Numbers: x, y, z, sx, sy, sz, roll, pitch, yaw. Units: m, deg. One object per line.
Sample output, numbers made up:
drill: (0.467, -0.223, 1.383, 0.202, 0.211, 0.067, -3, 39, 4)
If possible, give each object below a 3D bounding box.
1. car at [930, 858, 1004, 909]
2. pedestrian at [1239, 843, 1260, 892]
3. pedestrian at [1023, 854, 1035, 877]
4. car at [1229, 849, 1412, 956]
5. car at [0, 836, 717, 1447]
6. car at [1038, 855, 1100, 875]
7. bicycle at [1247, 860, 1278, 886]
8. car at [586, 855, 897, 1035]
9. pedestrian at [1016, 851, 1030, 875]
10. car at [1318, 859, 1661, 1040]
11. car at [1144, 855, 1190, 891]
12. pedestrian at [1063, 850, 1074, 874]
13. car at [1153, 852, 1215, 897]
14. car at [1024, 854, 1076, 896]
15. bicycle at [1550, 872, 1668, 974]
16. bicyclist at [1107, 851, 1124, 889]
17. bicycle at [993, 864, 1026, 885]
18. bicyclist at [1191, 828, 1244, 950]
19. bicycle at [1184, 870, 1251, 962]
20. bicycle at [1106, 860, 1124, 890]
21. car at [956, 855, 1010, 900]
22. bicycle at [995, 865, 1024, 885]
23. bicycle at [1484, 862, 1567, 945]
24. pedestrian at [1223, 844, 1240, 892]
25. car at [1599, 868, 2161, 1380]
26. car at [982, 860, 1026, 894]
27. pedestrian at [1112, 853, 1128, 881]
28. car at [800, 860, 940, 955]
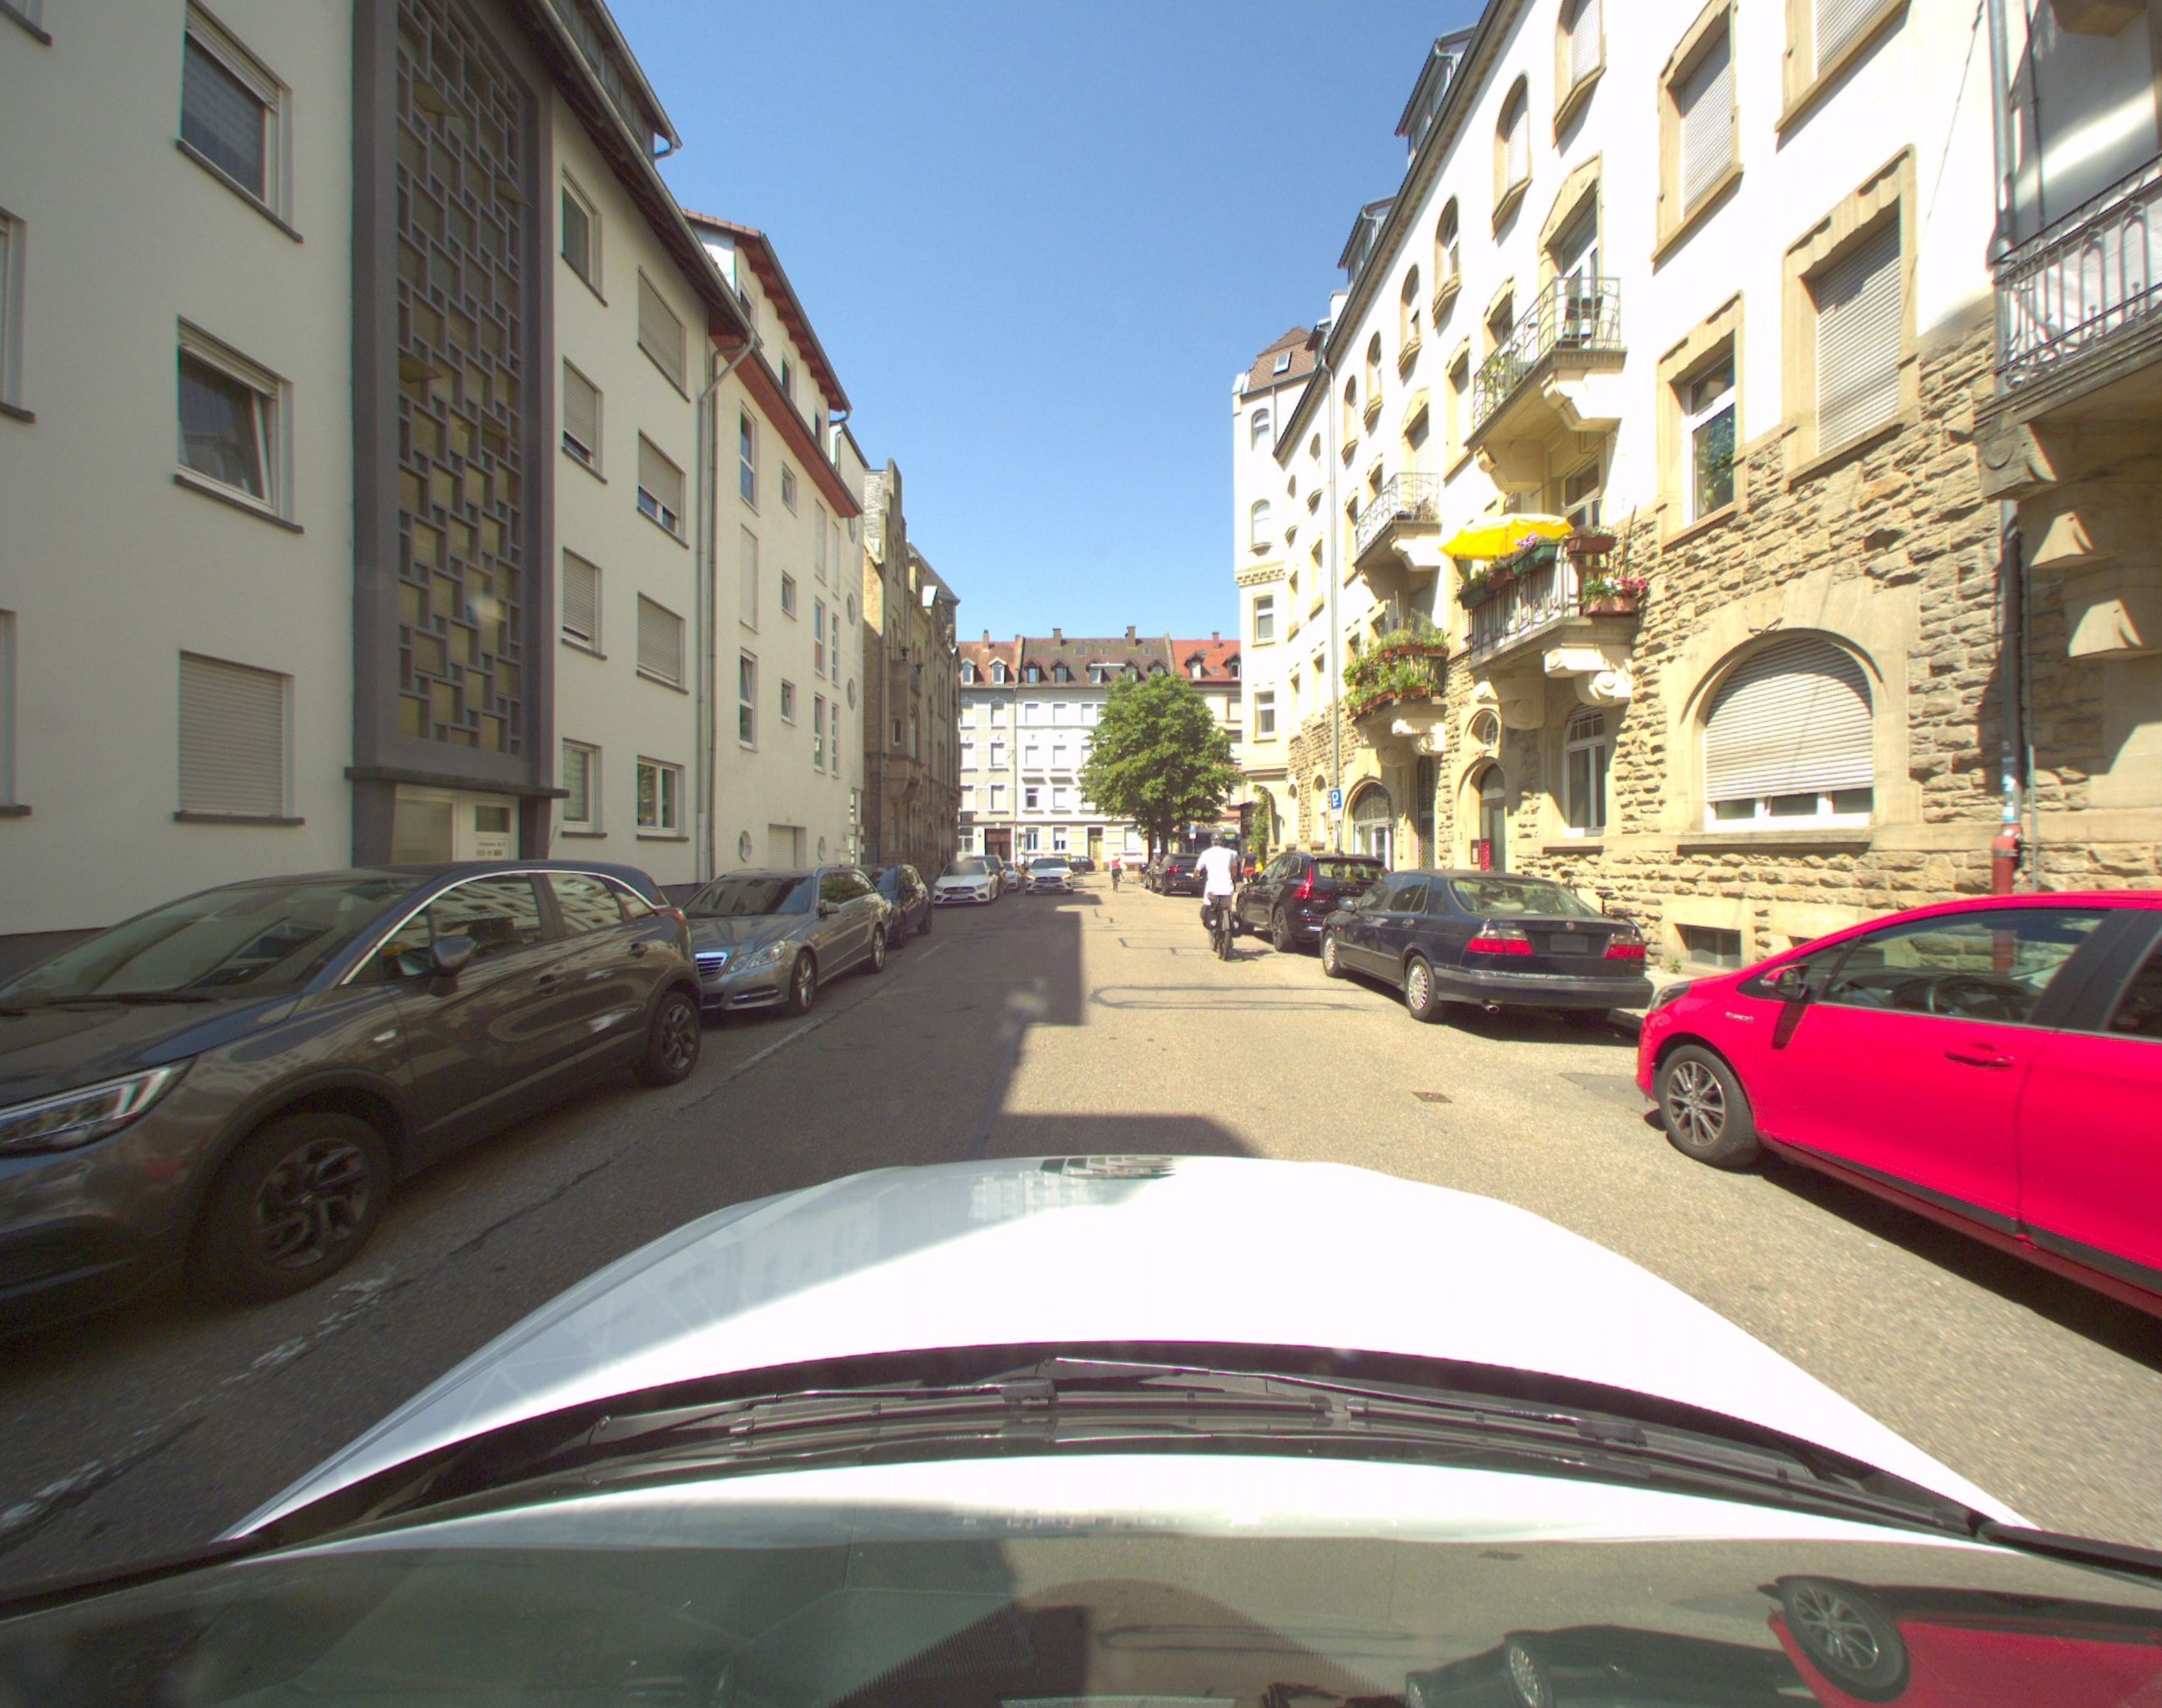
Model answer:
car: (-3.680, 0.926, 26.922, 1.771, 1.460, 4.278, -3, -1, 0)
pedestrian: (6.555, 0.540, 31.698, 0.598, 1.880, 0.882, 0, -1, -3)
pedestrian: (-4.164, 0.943, 65.419, 0.899, 1.814, 0.958, -1, -1, -5)
car: (3.995, 0.740, 14.456, 1.828, 1.567, 4.603, 1, 0, -1)
car: (-3.599, 0.829, 4.186, 1.598, 1.644, 3.976, -3, -1, 0)
car: (-0.946, 0.869, 64.841, 4.844, 1.437, 1.999, -1, -1, -1)
bicycle: (8.483, 0.870, 38.045, 0.786, 1.169, 2.593, -2, -1, 26)
car: (-3.558, 0.832, 9.609, 1.651, 1.518, 4.670, -3, -1, 0)
pedestrian: (-4.569, 0.727, 64.064, 0.844, 1.889, 0.938, -1, -1, 10)
car: (3.922, 0.795, 8.628, 1.508, 1.399, 3.970, 3, 0, -1)
car: (3.861, 0.841, 37.208, 1.657, 1.540, 4.177, 1, 0, 0)
pedestrian: (-1.007, 0.657, 63.613, 0.724, 1.853, 0.682, -1, -1, -10)
car: (3.946, 0.768, 31.731, 1.731, 1.597, 4.345, 1, 0, -2)
car: (-1.165, 0.801, 32.177, 1.835, 1.461, 4.361, -3, -1, 0)
bicycle: (6.962, 0.861, 10.835, 0.439, 1.208, 1.776, -1, -1, 2)
bicyclist: (1.414, 0.649, 33.685, 0.668, 1.533, 0.609, -1, -1, 1)
bicycle: (-3.800, 1.097, 43.232, 1.701, 1.045, 0.413, 2, -1, -5)
bicyclist: (2.015, 0.508, 12.098, 0.668, 1.760, 0.609, 1, -1, 1)
bicycle: (2.039, 0.884, 12.482, 0.649, 1.228, 2.442, 1, -1, 1)
bicycle: (1.399, 0.845, 33.728, 0.649, 1.209, 2.442, 1, -1, 1)
car: (-3.775, 0.873, 32.002, 1.668, 1.583, 4.050, -3, -1, -2)
bicycle: (-3.850, 1.120, 43.688, 1.522, 1.008, 0.366, 2, -1, -5)
bicycle: (7.016, 0.743, 12.937, 0.383, 1.208, 1.776, -1, -1, 2)
pedestrian: (5.901, 0.539, 31.989, 0.517, 1.869, 0.653, 0, -1, -3)
car: (3.924, 0.815, 3.041, 1.565, 1.452, 3.843, 1, 0, 0)
car: (-3.423, 1.017, 37.001, 1.697, 1.352, 4.511, -3, -1, -2)
pedestrian: (2.332, 0.762, 48.868, 0.854, 1.672, 0.774, -1, -1, 0)
car: (-3.824, 0.902, 15.408, 1.562, 1.491, 3.893, -3, -1, 0)
